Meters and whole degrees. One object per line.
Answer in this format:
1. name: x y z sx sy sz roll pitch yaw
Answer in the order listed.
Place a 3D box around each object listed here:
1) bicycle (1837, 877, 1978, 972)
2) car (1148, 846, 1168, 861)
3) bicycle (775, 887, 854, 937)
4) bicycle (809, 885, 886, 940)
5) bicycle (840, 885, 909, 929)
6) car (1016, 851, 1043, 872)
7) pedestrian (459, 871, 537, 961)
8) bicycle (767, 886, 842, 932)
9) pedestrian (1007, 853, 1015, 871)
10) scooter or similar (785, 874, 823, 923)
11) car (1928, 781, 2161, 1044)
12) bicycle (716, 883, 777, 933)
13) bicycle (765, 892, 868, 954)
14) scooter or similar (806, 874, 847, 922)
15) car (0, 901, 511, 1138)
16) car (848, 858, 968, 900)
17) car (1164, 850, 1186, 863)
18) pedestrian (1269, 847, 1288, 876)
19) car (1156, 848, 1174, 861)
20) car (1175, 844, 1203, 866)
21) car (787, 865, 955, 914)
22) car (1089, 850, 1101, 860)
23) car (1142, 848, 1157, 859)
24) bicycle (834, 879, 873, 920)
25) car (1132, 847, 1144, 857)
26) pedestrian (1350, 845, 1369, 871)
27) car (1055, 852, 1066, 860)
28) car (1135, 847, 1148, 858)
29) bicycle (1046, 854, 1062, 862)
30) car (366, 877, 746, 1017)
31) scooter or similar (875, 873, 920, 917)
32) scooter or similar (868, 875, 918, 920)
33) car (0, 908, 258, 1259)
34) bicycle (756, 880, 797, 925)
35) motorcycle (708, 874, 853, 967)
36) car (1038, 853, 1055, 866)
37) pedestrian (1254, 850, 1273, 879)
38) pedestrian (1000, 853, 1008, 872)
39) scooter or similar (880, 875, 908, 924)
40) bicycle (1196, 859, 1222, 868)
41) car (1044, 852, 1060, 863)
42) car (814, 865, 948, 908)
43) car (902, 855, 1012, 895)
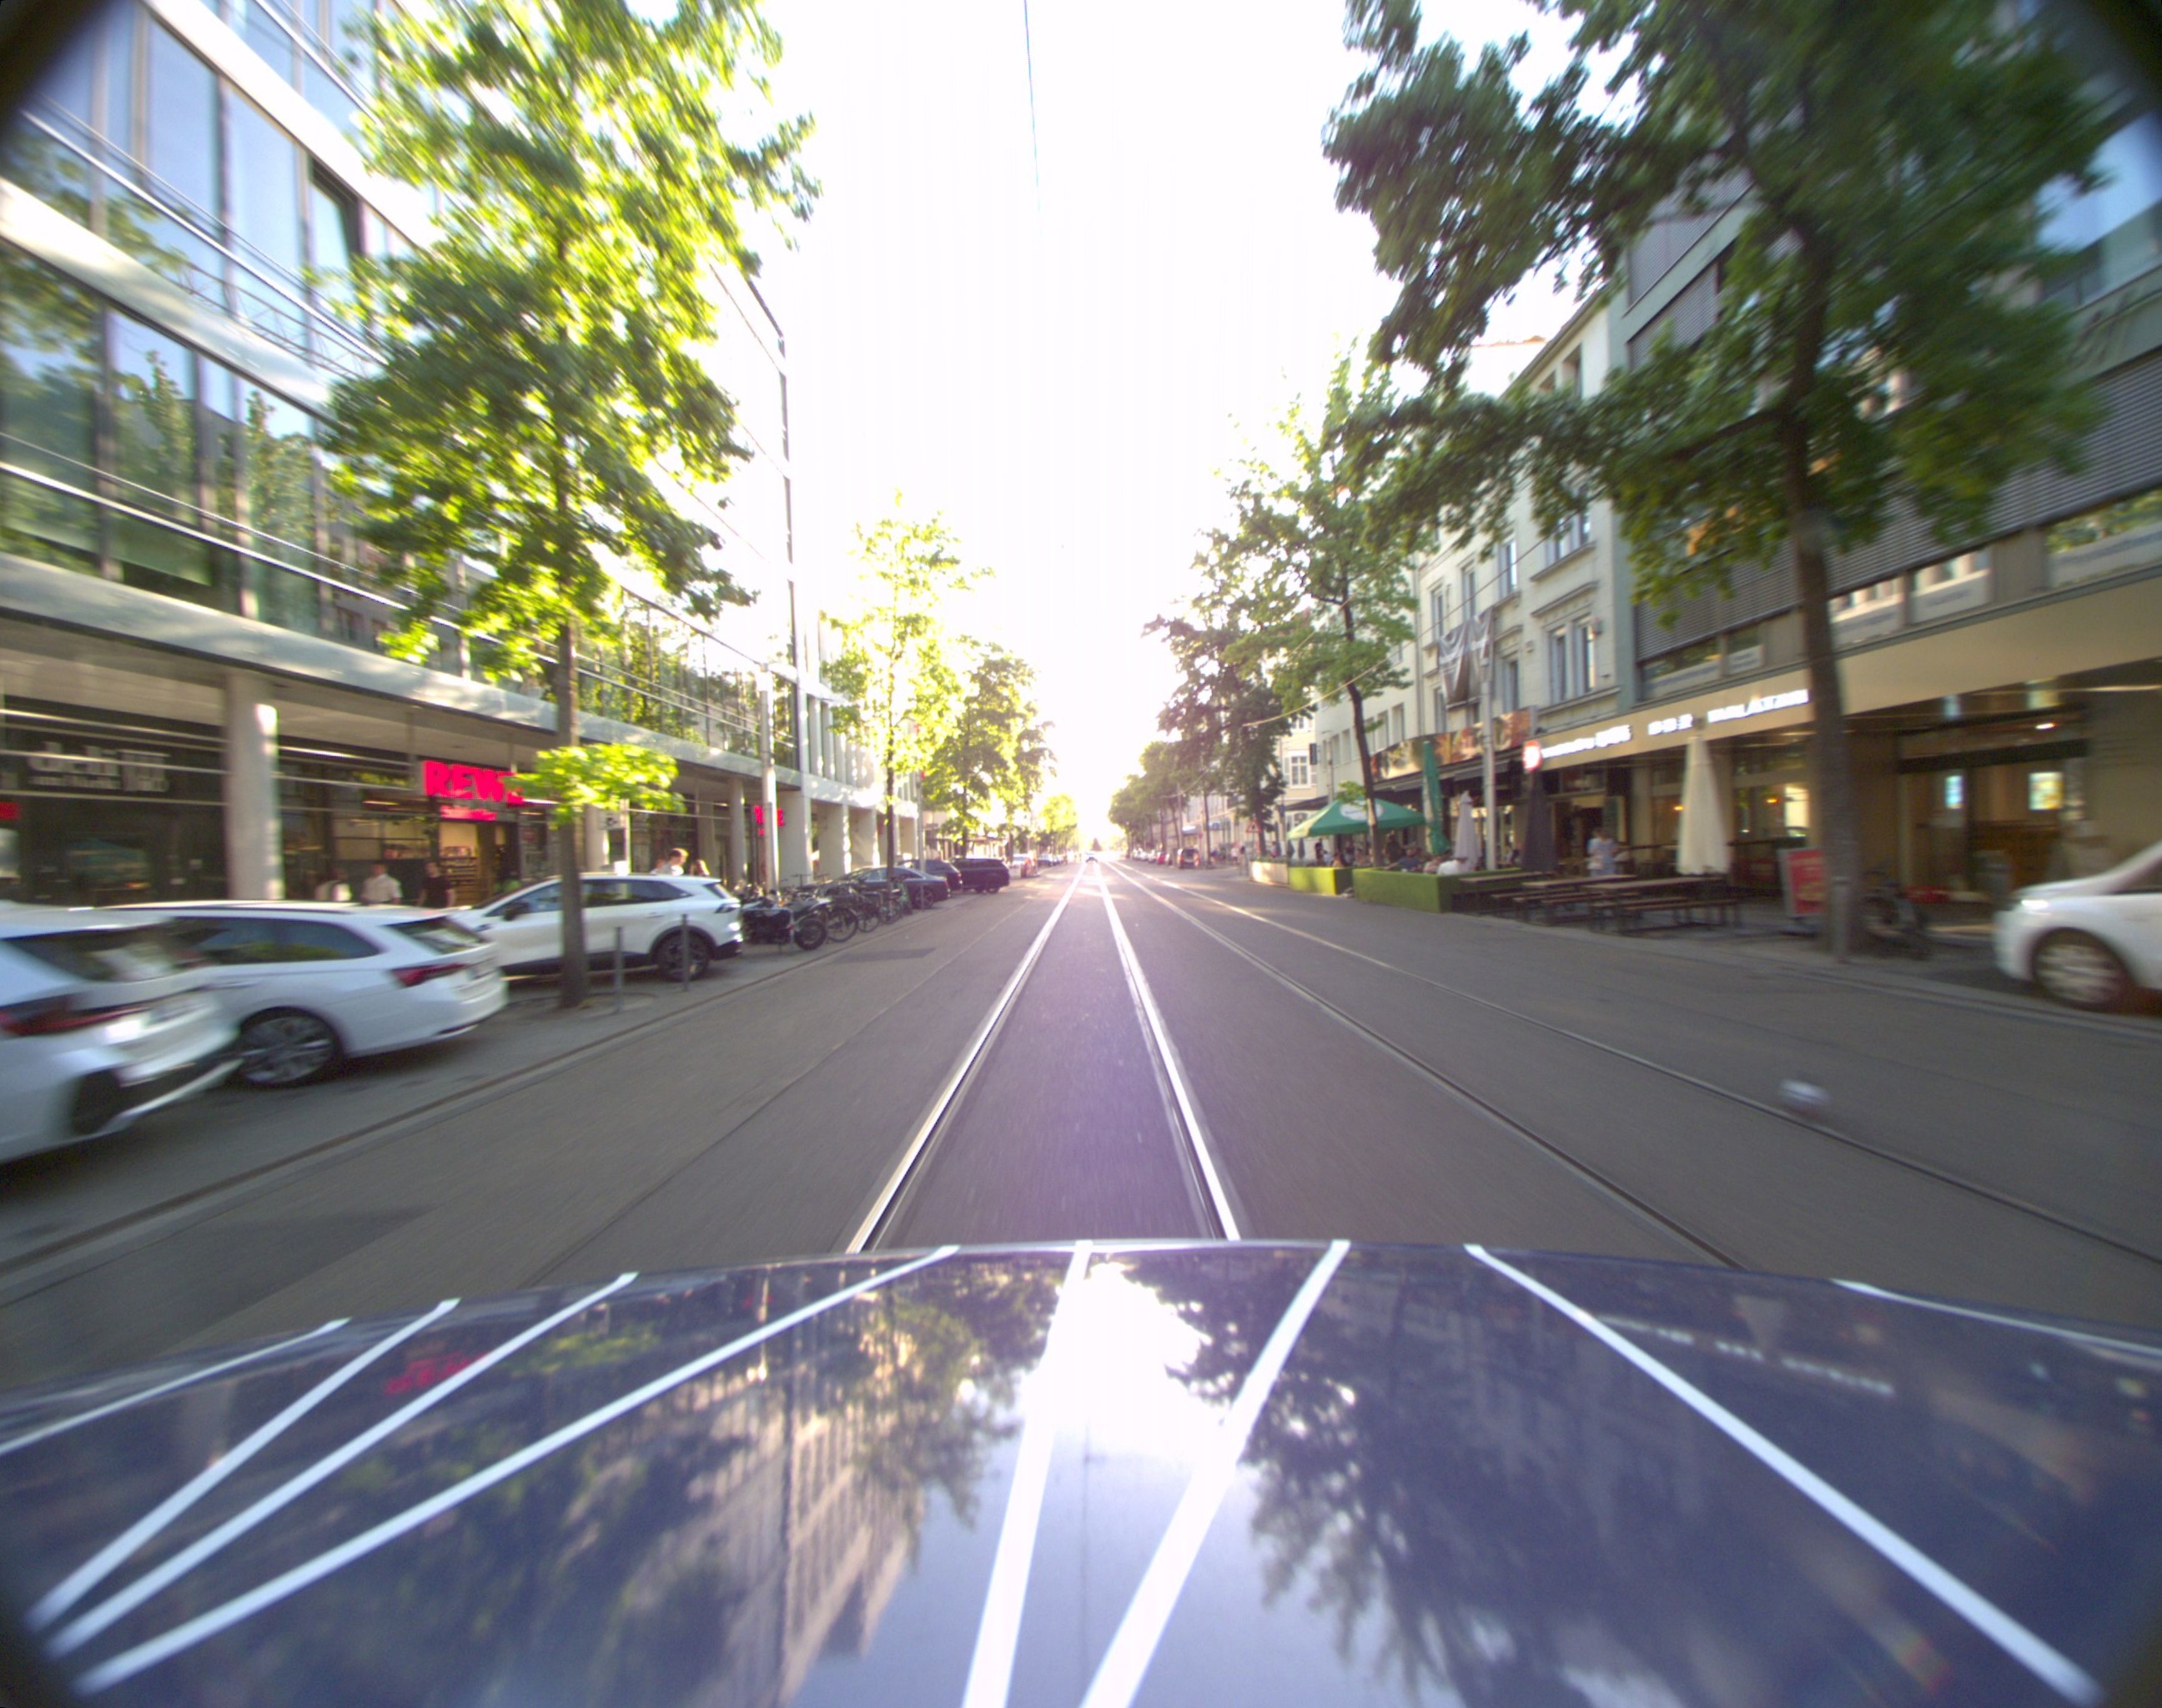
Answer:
1. bicycle: 9.584 0.785 8.893 0.834 0.860 1.864 -4 0 40
2. car: 9.954 -0.093 98.637 1.870 1.679 4.950 -5 0 -2
3. bicycle: -6.286 1.358 17.958 1.697 1.099 0.631 1 1 -25
4. bicycle: -5.402 1.330 17.658 0.480 1.157 1.698 2 1 41
5. bicycle: -5.409 1.372 19.907 1.566 1.082 0.867 1 -1 -29
6. car: -4.290 0.597 64.047 2.028 1.727 4.906 0 0 -1
7. pedestrian: -10.866 1.134 14.190 0.716 1.614 0.882 -1 1 2
8. bicycle: -6.936 1.360 19.066 1.677 1.068 0.731 1 -1 -29
9. pedestrian: -7.050 0.773 76.592 0.707 1.820 0.634 -2 1 1
10. scooter or similar: -7.943 1.240 21.749 0.564 1.286 1.676 0 1 -36
11. car: 8.563 0.377 4.593 1.800 1.854 4.553 -5 0 2
12. bicycle: -8.183 1.295 18.560 1.272 1.166 0.866 1 -1 -30
13. bicycle: -5.402 1.381 15.549 1.899 1.113 0.666 0 1 -28
14. scooter or similar: -7.411 1.248 22.077 0.633 1.286 1.676 0 1 -36
15. car: -7.458 1.227 6.222 4.164 1.490 1.685 0 1 -23
16. car: -7.340 1.024 32.164 4.672 1.645 2.004 0 0 -23
17. car: 9.930 0.261 80.181 1.722 1.238 4.507 -5 0 1
18. pedestrian: 9.692 0.366 37.316 0.691 1.378 0.807 -4 1 2
19. car: 9.804 0.061 89.069 1.664 1.397 4.141 -5 0 2
20. car: 9.415 0.076 66.645 1.862 1.821 4.559 -3 0 2
21. car: -6.968 1.123 25.505 5.071 1.460 1.972 0 1 -35
22. car: 2.320 0.123 126.121 1.827 1.603 3.796 -2 0 1
23. car: 10.507 -0.113 117.121 1.897 1.458 4.617 -5 0 2
24. bicycle: -6.732 1.323 22.421 0.553 1.101 1.845 0 0 -35
25. car: 11.301 -0.443 151.348 1.931 1.946 4.765 -2 0 1
26. pedestrian: 12.775 0.180 34.831 0.553 1.155 0.687 -4 1 2
27. car: -3.633 0.340 134.956 1.798 1.502 3.986 0 0 1
28. car: 10.868 -0.285 136.479 1.952 1.731 4.765 -5 0 1
29. bicycle: -4.028 0.623 114.536 2.325 1.181 0.751 -2 1 2
30. car: -7.210 1.160 10.919 4.167 1.562 1.849 0 0 -32
31. scooter or similar: -5.616 1.236 23.242 0.457 1.269 1.310 2 1 38
32. scooter or similar: -5.536 1.259 22.422 1.309 1.269 0.563 1 1 -30
33. car: -7.313 1.180 3.593 4.256 1.578 1.880 0 1 -30
34. bicycle: -8.524 1.334 21.223 0.628 1.124 1.883 0 0 -35
35. motorcycle: -5.497 1.168 14.008 2.324 1.501 0.856 -1 2 -42
36. car: -4.499 0.708 100.179 1.985 1.679 4.873 0 0 1
37. pedestrian: 8.958 0.493 37.351 0.691 1.378 0.807 -4 1 2
38. pedestrian: -7.764 0.834 76.590 0.690 1.820 0.634 -2 1 1
39. scooter or similar: -5.277 1.263 21.461 0.452 1.269 1.306 2 1 0
40. bicycle: 9.760 0.712 58.103 1.799 0.605 1.282 -3 0 4
41. car: -4.115 0.523 108.024 1.871 1.502 4.241 0 0 -7
42. car: -7.447 1.154 28.229 4.671 1.417 1.930 0 1 -20
43. car: -5.816 0.923 35.695 4.674 1.753 1.990 0 1 -28
